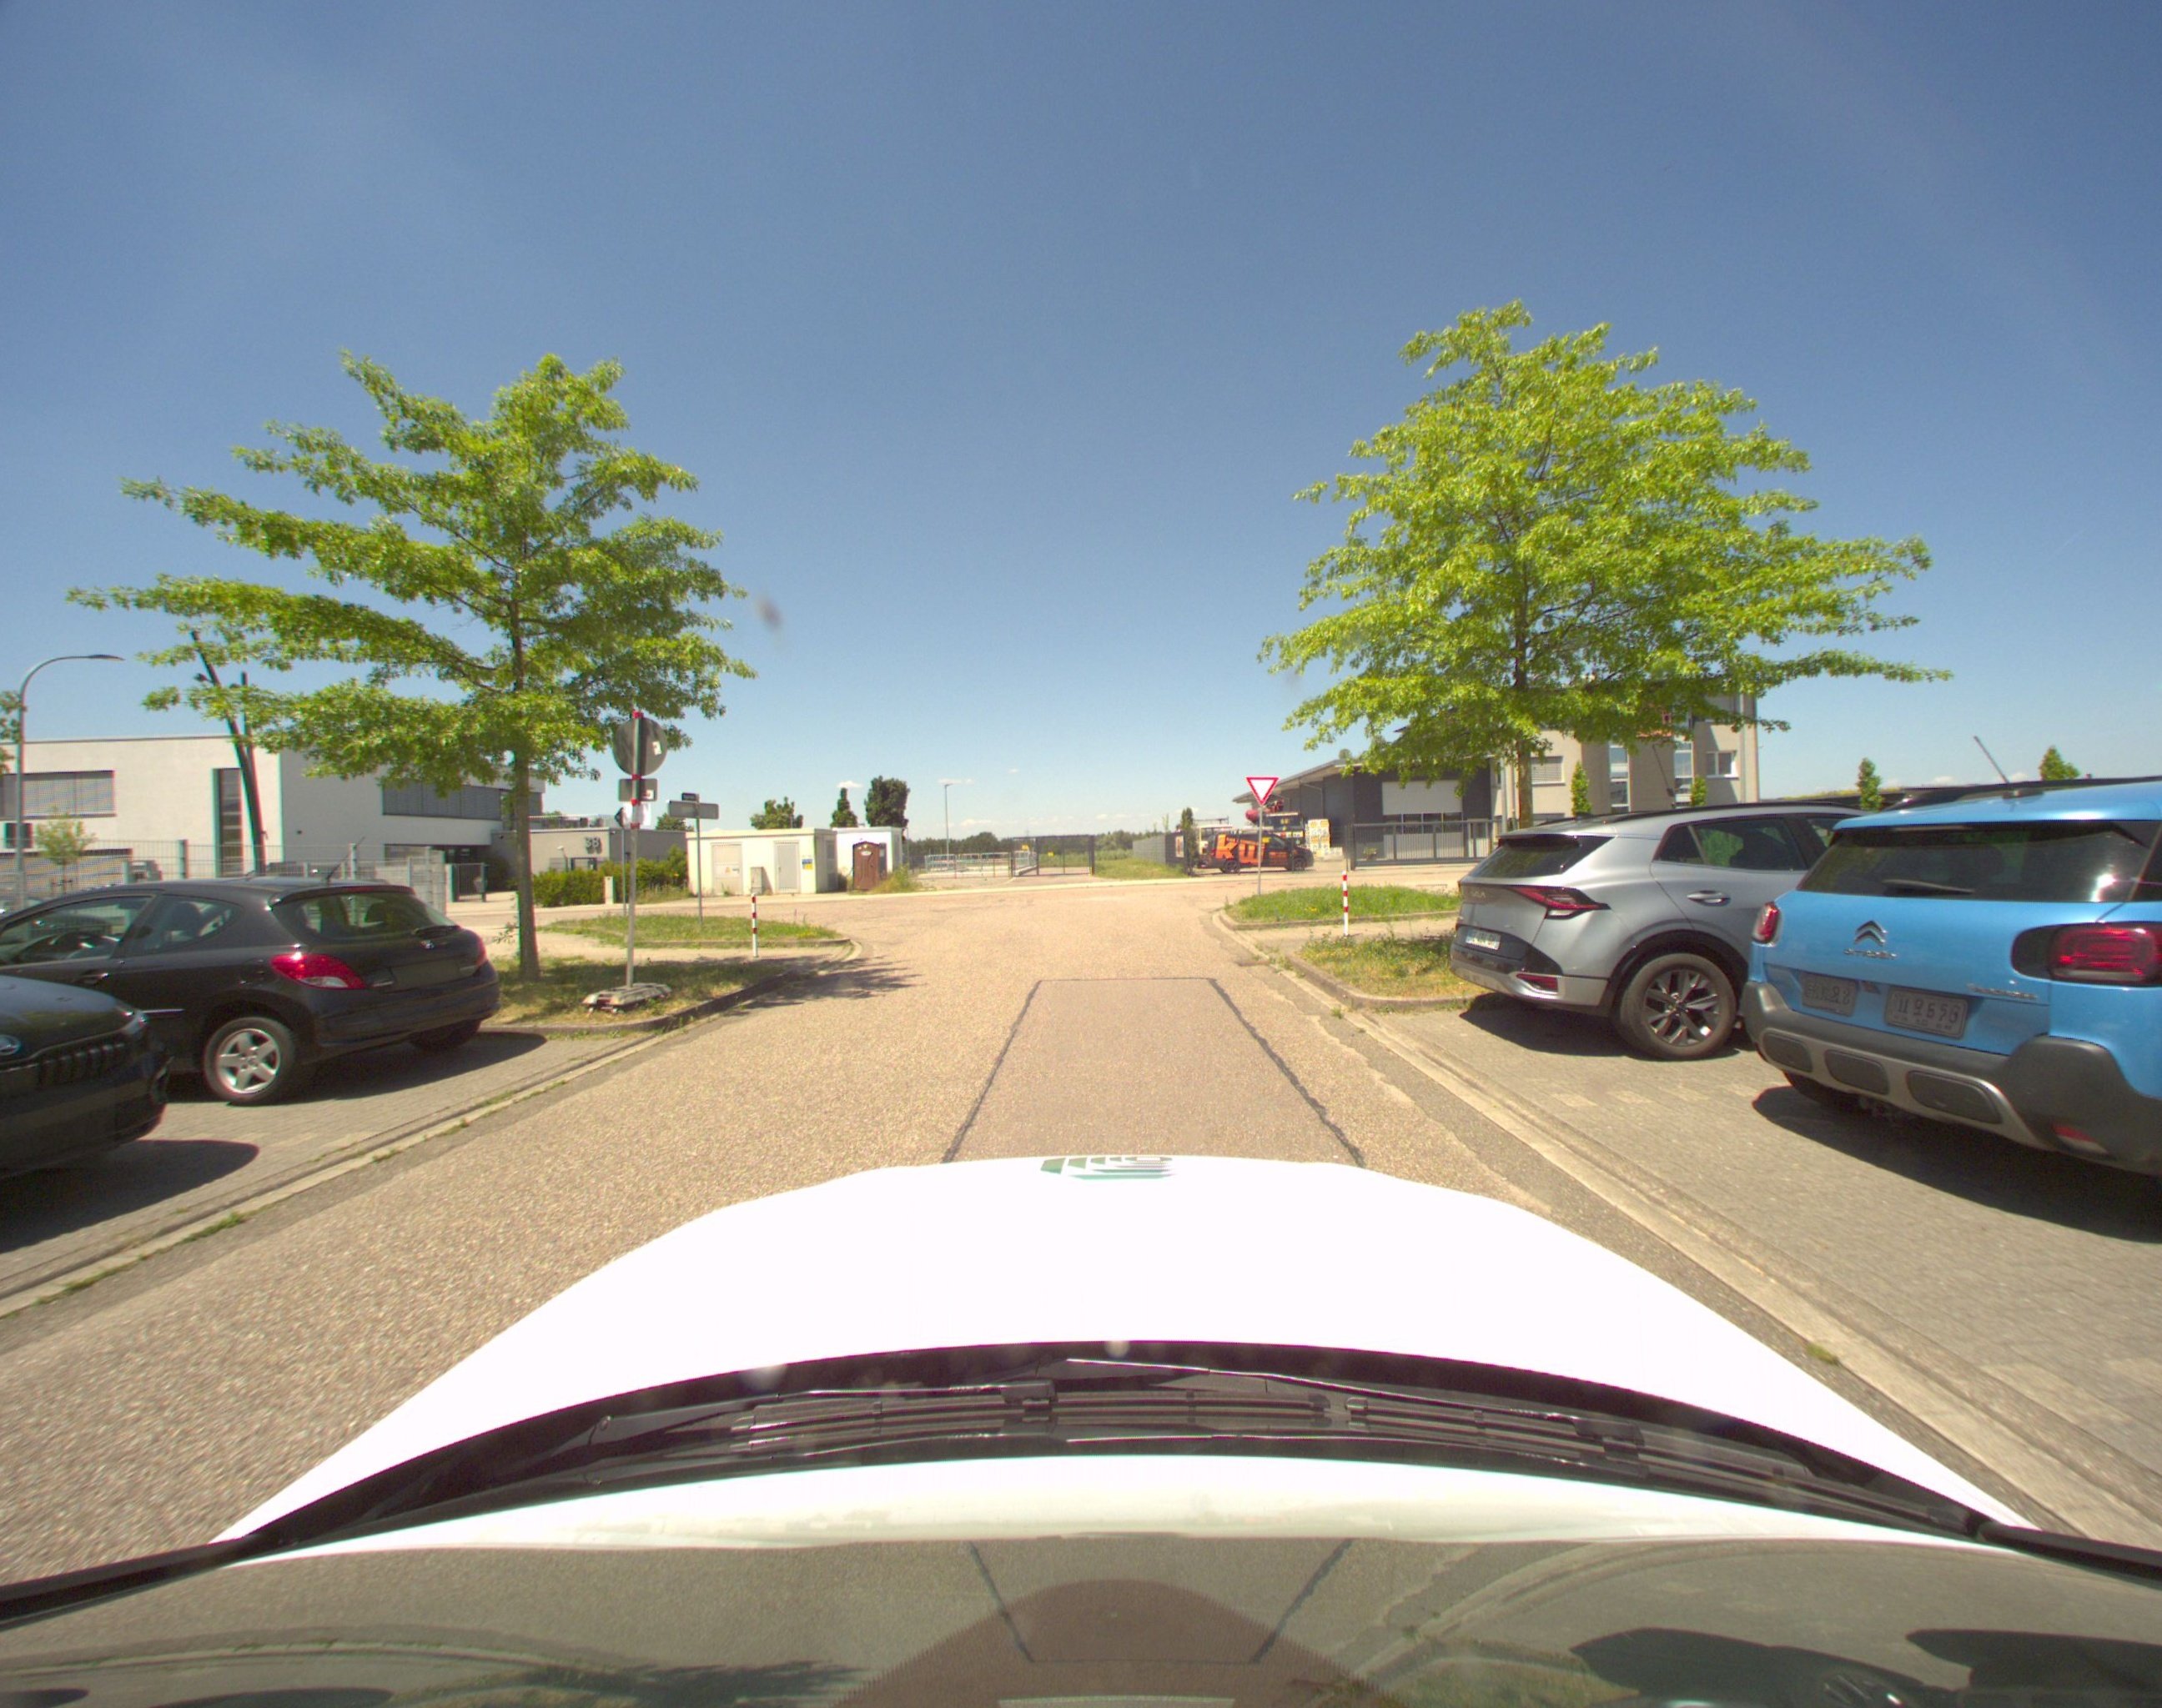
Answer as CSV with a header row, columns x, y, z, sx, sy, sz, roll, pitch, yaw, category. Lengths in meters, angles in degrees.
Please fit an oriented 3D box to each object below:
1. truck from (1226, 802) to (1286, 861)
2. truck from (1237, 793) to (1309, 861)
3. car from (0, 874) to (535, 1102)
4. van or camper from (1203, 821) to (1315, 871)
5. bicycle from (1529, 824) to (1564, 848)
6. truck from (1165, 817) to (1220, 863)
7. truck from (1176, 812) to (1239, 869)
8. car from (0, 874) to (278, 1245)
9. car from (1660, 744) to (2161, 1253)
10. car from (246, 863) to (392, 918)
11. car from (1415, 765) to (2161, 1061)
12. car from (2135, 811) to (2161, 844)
x,y,z,sx,sy,sz,roll,pitch,yaw,category
12.632,-1.552,59.411,2.911,3.929,6.937,-2,0,1,truck
11.978,-1.607,51.511,2.911,3.929,6.937,-2,0,1,truck
-6.556,0.896,6.178,3.615,1.436,1.725,0,0,-2,car
8.533,-0.410,39.352,4.919,2.163,2.000,-2,1,0,van or camper
25.154,-0.966,43.987,1.804,1.185,0.442,-3,0,-13,bicycle
7.709,-0.977,57.312,2.911,2.937,6.937,-2,0,1,truck
7.425,-0.792,48.769,2.717,3.061,6.937,-2,0,1,truck
-6.474,0.873,3.638,3.916,1.520,1.784,0,0,-2,car
5.209,0.373,3.572,3.973,1.644,1.838,-3,0,0,car
-31.441,1.474,33.715,3.977,2.013,1.998,-3,0,-2,car
5.047,0.370,6.107,4.263,1.644,1.851,-3,0,1,car
48.212,-1.213,35.005,3.616,1.384,1.679,-2,2,2,car
